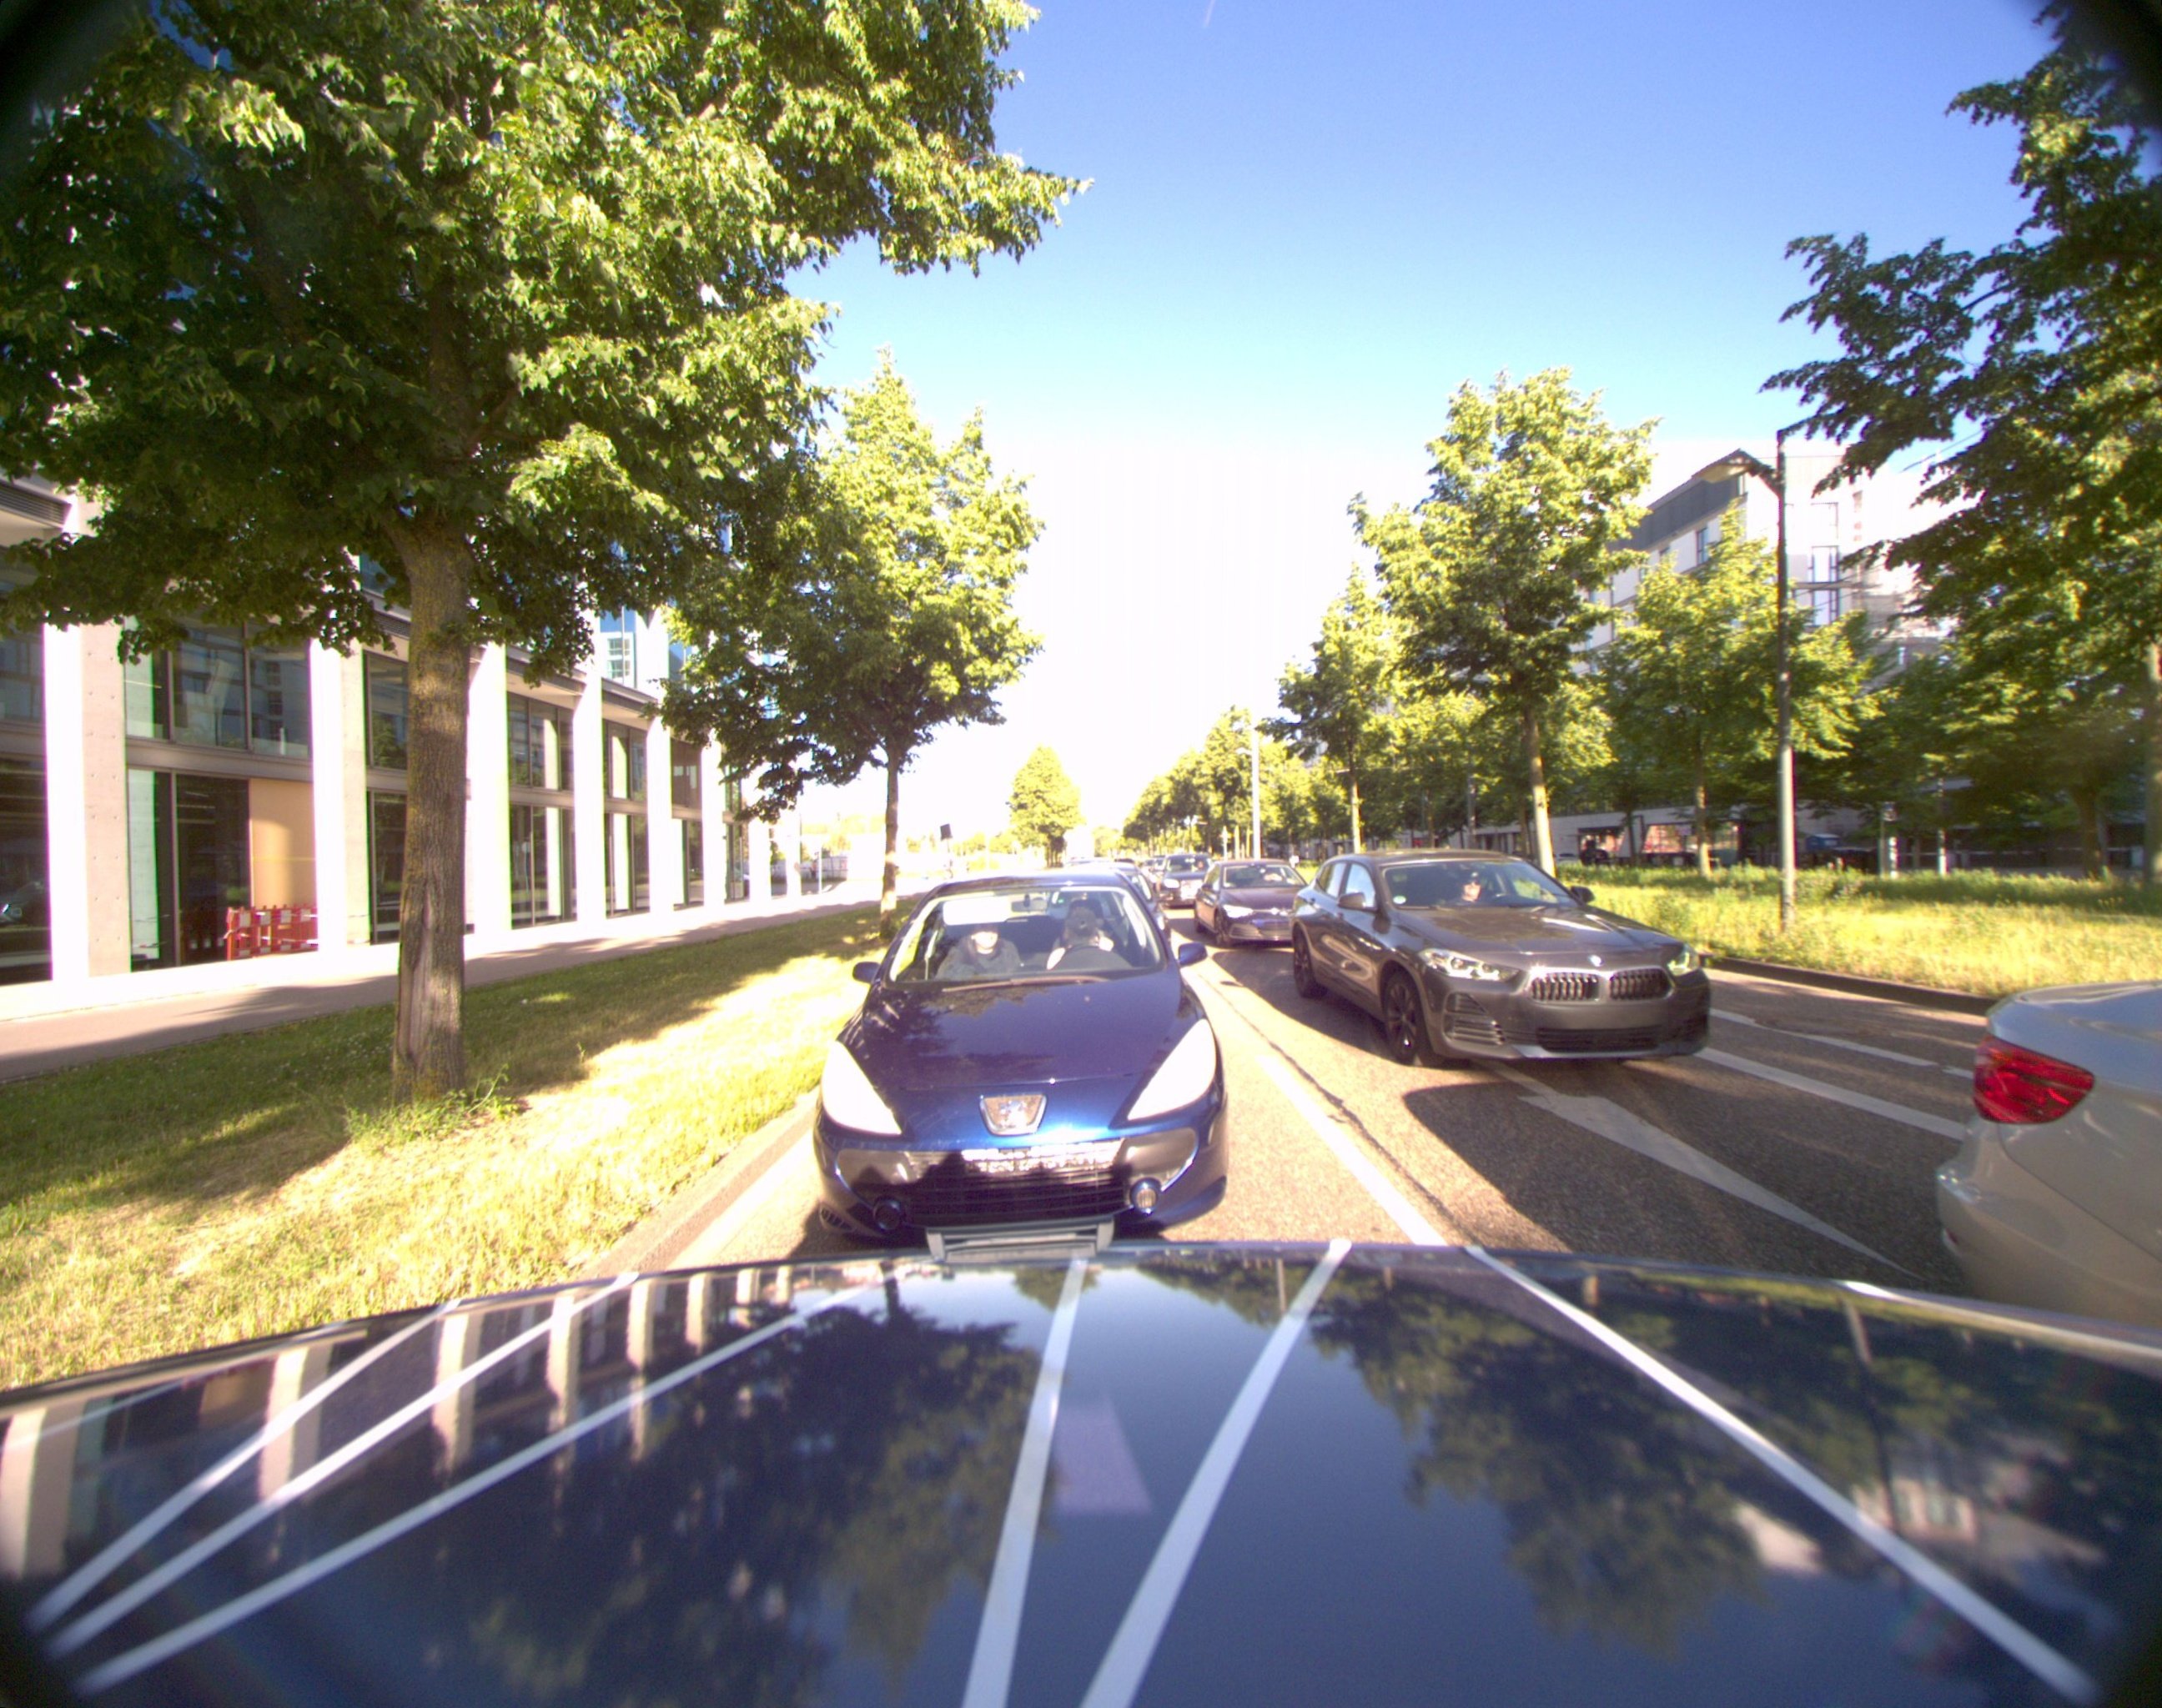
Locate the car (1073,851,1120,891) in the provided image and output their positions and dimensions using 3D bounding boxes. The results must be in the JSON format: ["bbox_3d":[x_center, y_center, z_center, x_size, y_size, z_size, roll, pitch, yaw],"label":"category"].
[{"bbox_3d":[0.637,0.730,35.330,2.012,1.689,4.791,-1,0,-1],"label":"car"}]

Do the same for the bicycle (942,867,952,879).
[{"bbox_3d":[-10.074,1.448,57.189,0.415,0.813,1.320,-2,1,1],"label":"bicycle"}]

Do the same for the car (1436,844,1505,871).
[{"bbox_3d":[23.972,0.202,46.981,1.858,1.528,4.735,-1,0,1],"label":"car"}]

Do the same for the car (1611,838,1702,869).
[{"bbox_3d":[34.419,-0.039,45.616,1.858,1.674,4.792,-1,0,1],"label":"car"}]

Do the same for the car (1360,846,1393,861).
[{"bbox_3d":[34.696,-0.050,89.386,2.012,1.689,4.791,-1,0,-1],"label":"car"}]

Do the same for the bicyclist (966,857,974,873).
[{"bbox_3d":[-9.008,0.899,61.507,0.534,1.282,0.521,-2,1,1],"label":"bicyclist"}]

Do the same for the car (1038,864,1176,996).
[{"bbox_3d":[0.345,0.941,11.291,1.612,1.463,4.395,-1,0,1],"label":"car"}]

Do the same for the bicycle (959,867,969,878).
[{"bbox_3d":[-8.828,1.397,57.451,0.464,0.813,1.344,-2,1,1],"label":"bicycle"}]

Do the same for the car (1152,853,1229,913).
[{"bbox_3d":[3.158,0.797,22.732,1.812,1.581,4.165,-1,0,2],"label":"car"}]

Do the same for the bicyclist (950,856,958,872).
[{"bbox_3d":[-10.243,0.776,61.251,0.534,1.282,0.457,-2,1,1],"label":"bicyclist"}]

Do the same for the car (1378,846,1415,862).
[{"bbox_3d":[34.665,0.000,83.579,2.012,1.689,4.791,-1,0,-1],"label":"car"}]

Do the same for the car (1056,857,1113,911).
[{"bbox_3d":[0.138,0.919,25.081,1.705,1.591,3.785,-1,0,1],"label":"car"}]

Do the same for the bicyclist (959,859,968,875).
[{"bbox_3d":[-8.887,0.976,57.410,0.534,1.210,0.507,-2,1,1],"label":"bicyclist"}]

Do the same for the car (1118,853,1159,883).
[{"bbox_3d":[3.455,0.820,46.473,2.012,1.689,4.791,-1,0,-1],"label":"car"}]

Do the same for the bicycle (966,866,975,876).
[{"bbox_3d":[-8.975,1.369,61.568,0.464,0.813,1.344,-2,1,1],"label":"bicycle"}]

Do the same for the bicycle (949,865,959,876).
[{"bbox_3d":[-10.236,1.351,61.282,0.464,0.813,1.344,-2,1,1],"label":"bicycle"}]

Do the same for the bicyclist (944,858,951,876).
[{"bbox_3d":[-10.043,0.987,57.201,0.448,1.282,0.418,-2,1,1],"label":"bicyclist"}]

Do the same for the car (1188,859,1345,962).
[{"bbox_3d":[3.045,0.850,13.384,1.812,1.445,4.254,-1,0,2],"label":"car"}]

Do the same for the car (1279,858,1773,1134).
[{"bbox_3d":[3.080,0.830,6.377,1.812,1.513,4.029,-1,0,1],"label":"car"}]

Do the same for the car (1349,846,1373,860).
[{"bbox_3d":[34.706,-0.161,94.214,1.601,1.659,3.743,-1,0,1],"label":"car"}]

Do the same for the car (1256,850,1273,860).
[{"bbox_3d":[26.903,0.145,111.509,1.666,1.384,4.000,-1,0,1],"label":"car"}]

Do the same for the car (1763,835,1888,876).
[{"bbox_3d":[34.227,0.051,35.086,1.858,1.739,4.000,-1,0,1],"label":"car"}]

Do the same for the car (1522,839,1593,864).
[{"bbox_3d":[34.832,-0.171,55.741,2.012,1.689,4.791,-1,0,-3],"label":"car"}]

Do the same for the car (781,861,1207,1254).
[{"bbox_3d":[-0.325,0.844,4.962,1.686,1.513,3.785,-1,0,1],"label":"car"}]

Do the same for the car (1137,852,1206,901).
[{"bbox_3d":[3.376,0.804,29.237,2.012,1.689,4.791,-1,0,-1],"label":"car"}]

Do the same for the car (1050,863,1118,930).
[{"bbox_3d":[0.079,0.929,17.978,1.407,1.326,3.785,-1,0,1],"label":"car"}]
